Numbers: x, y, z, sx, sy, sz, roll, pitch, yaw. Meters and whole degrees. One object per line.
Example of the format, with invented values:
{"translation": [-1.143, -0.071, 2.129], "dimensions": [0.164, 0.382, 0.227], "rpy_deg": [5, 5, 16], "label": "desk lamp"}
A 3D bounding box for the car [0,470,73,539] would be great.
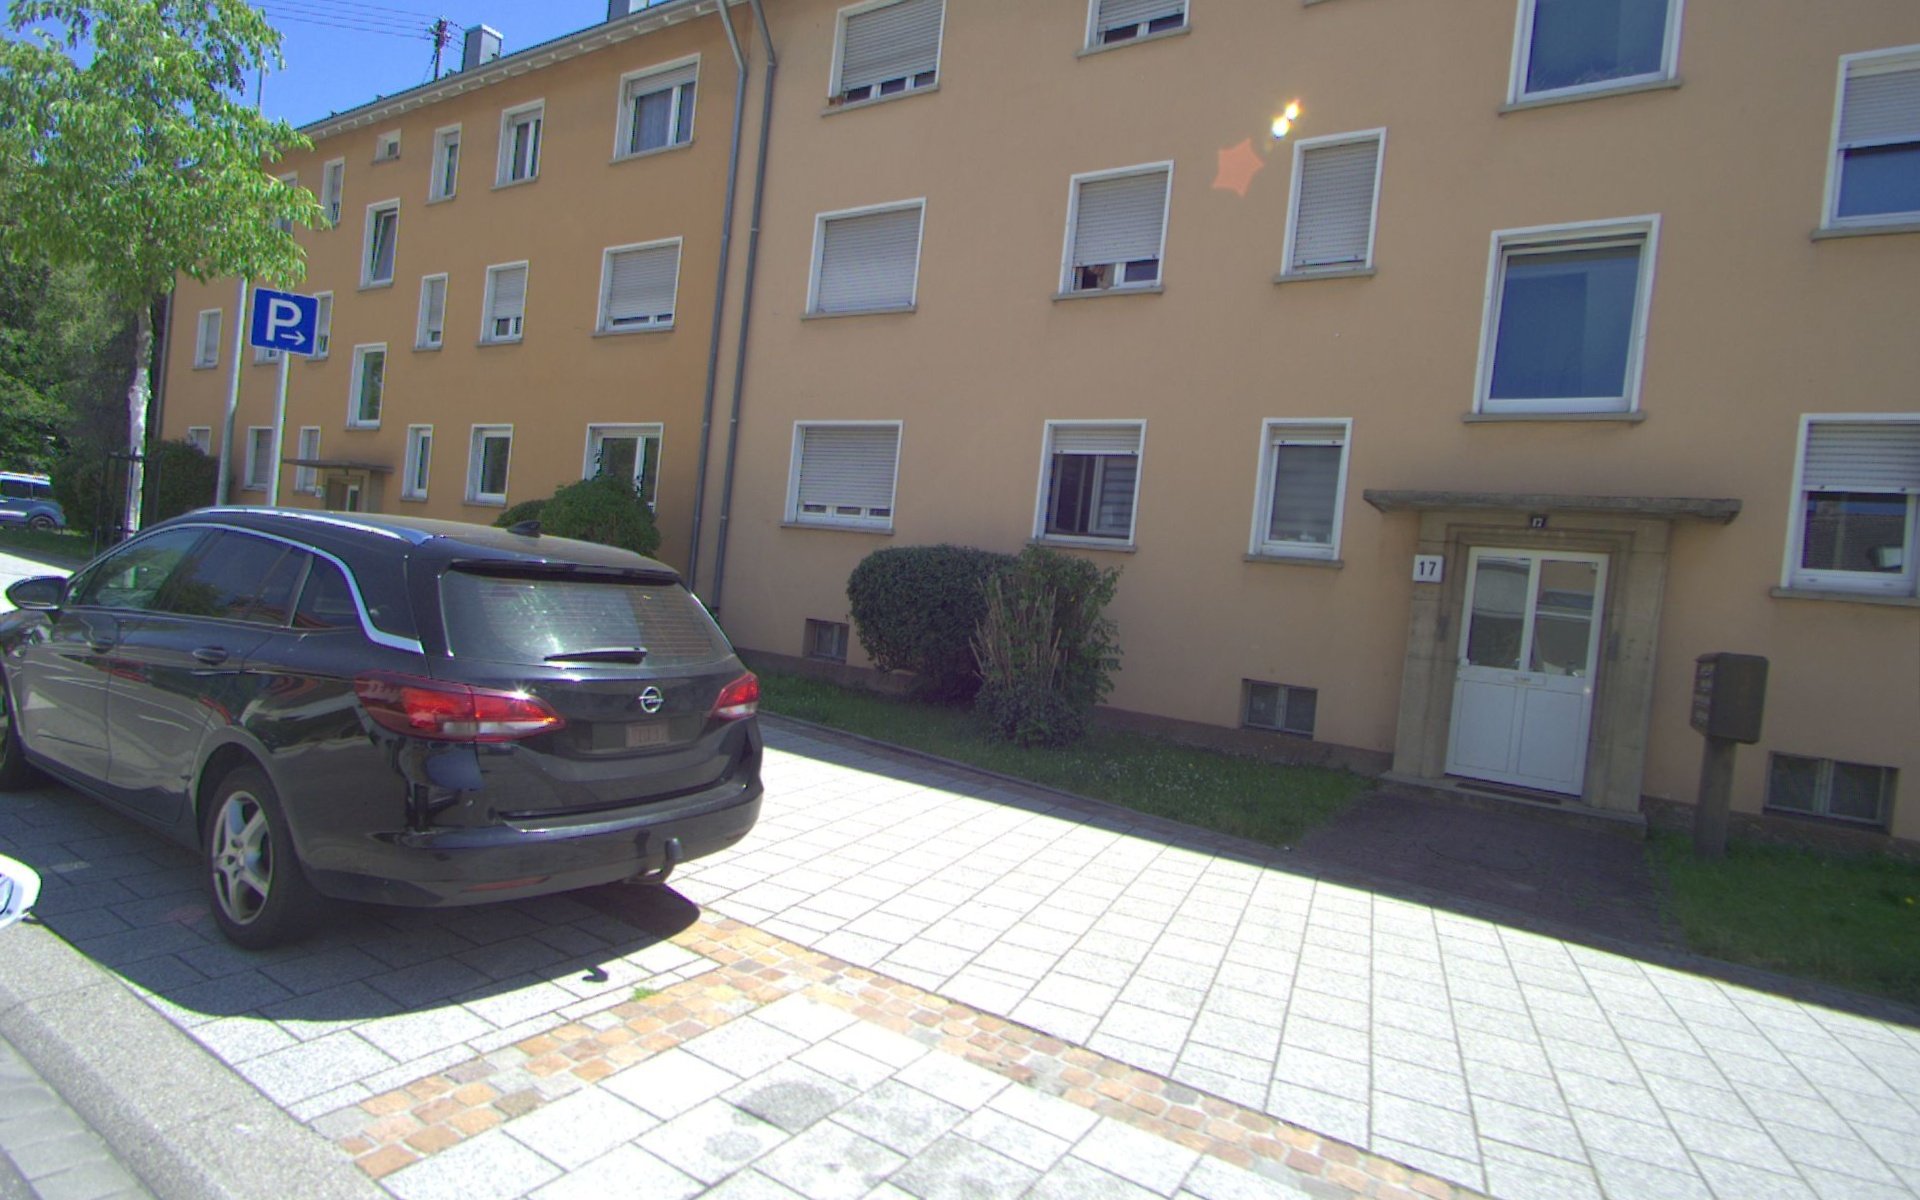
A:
{"translation": [-30.194, -3.142, 30.607], "dimensions": [1.718, 1.860, 4.351], "rpy_deg": [6, -2, 24], "label": "car"}

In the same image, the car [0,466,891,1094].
{"translation": [-2.924, 0.304, 4.689], "dimensions": [4.980, 1.524, 1.834], "rpy_deg": [7, 3, 32], "label": "car"}
